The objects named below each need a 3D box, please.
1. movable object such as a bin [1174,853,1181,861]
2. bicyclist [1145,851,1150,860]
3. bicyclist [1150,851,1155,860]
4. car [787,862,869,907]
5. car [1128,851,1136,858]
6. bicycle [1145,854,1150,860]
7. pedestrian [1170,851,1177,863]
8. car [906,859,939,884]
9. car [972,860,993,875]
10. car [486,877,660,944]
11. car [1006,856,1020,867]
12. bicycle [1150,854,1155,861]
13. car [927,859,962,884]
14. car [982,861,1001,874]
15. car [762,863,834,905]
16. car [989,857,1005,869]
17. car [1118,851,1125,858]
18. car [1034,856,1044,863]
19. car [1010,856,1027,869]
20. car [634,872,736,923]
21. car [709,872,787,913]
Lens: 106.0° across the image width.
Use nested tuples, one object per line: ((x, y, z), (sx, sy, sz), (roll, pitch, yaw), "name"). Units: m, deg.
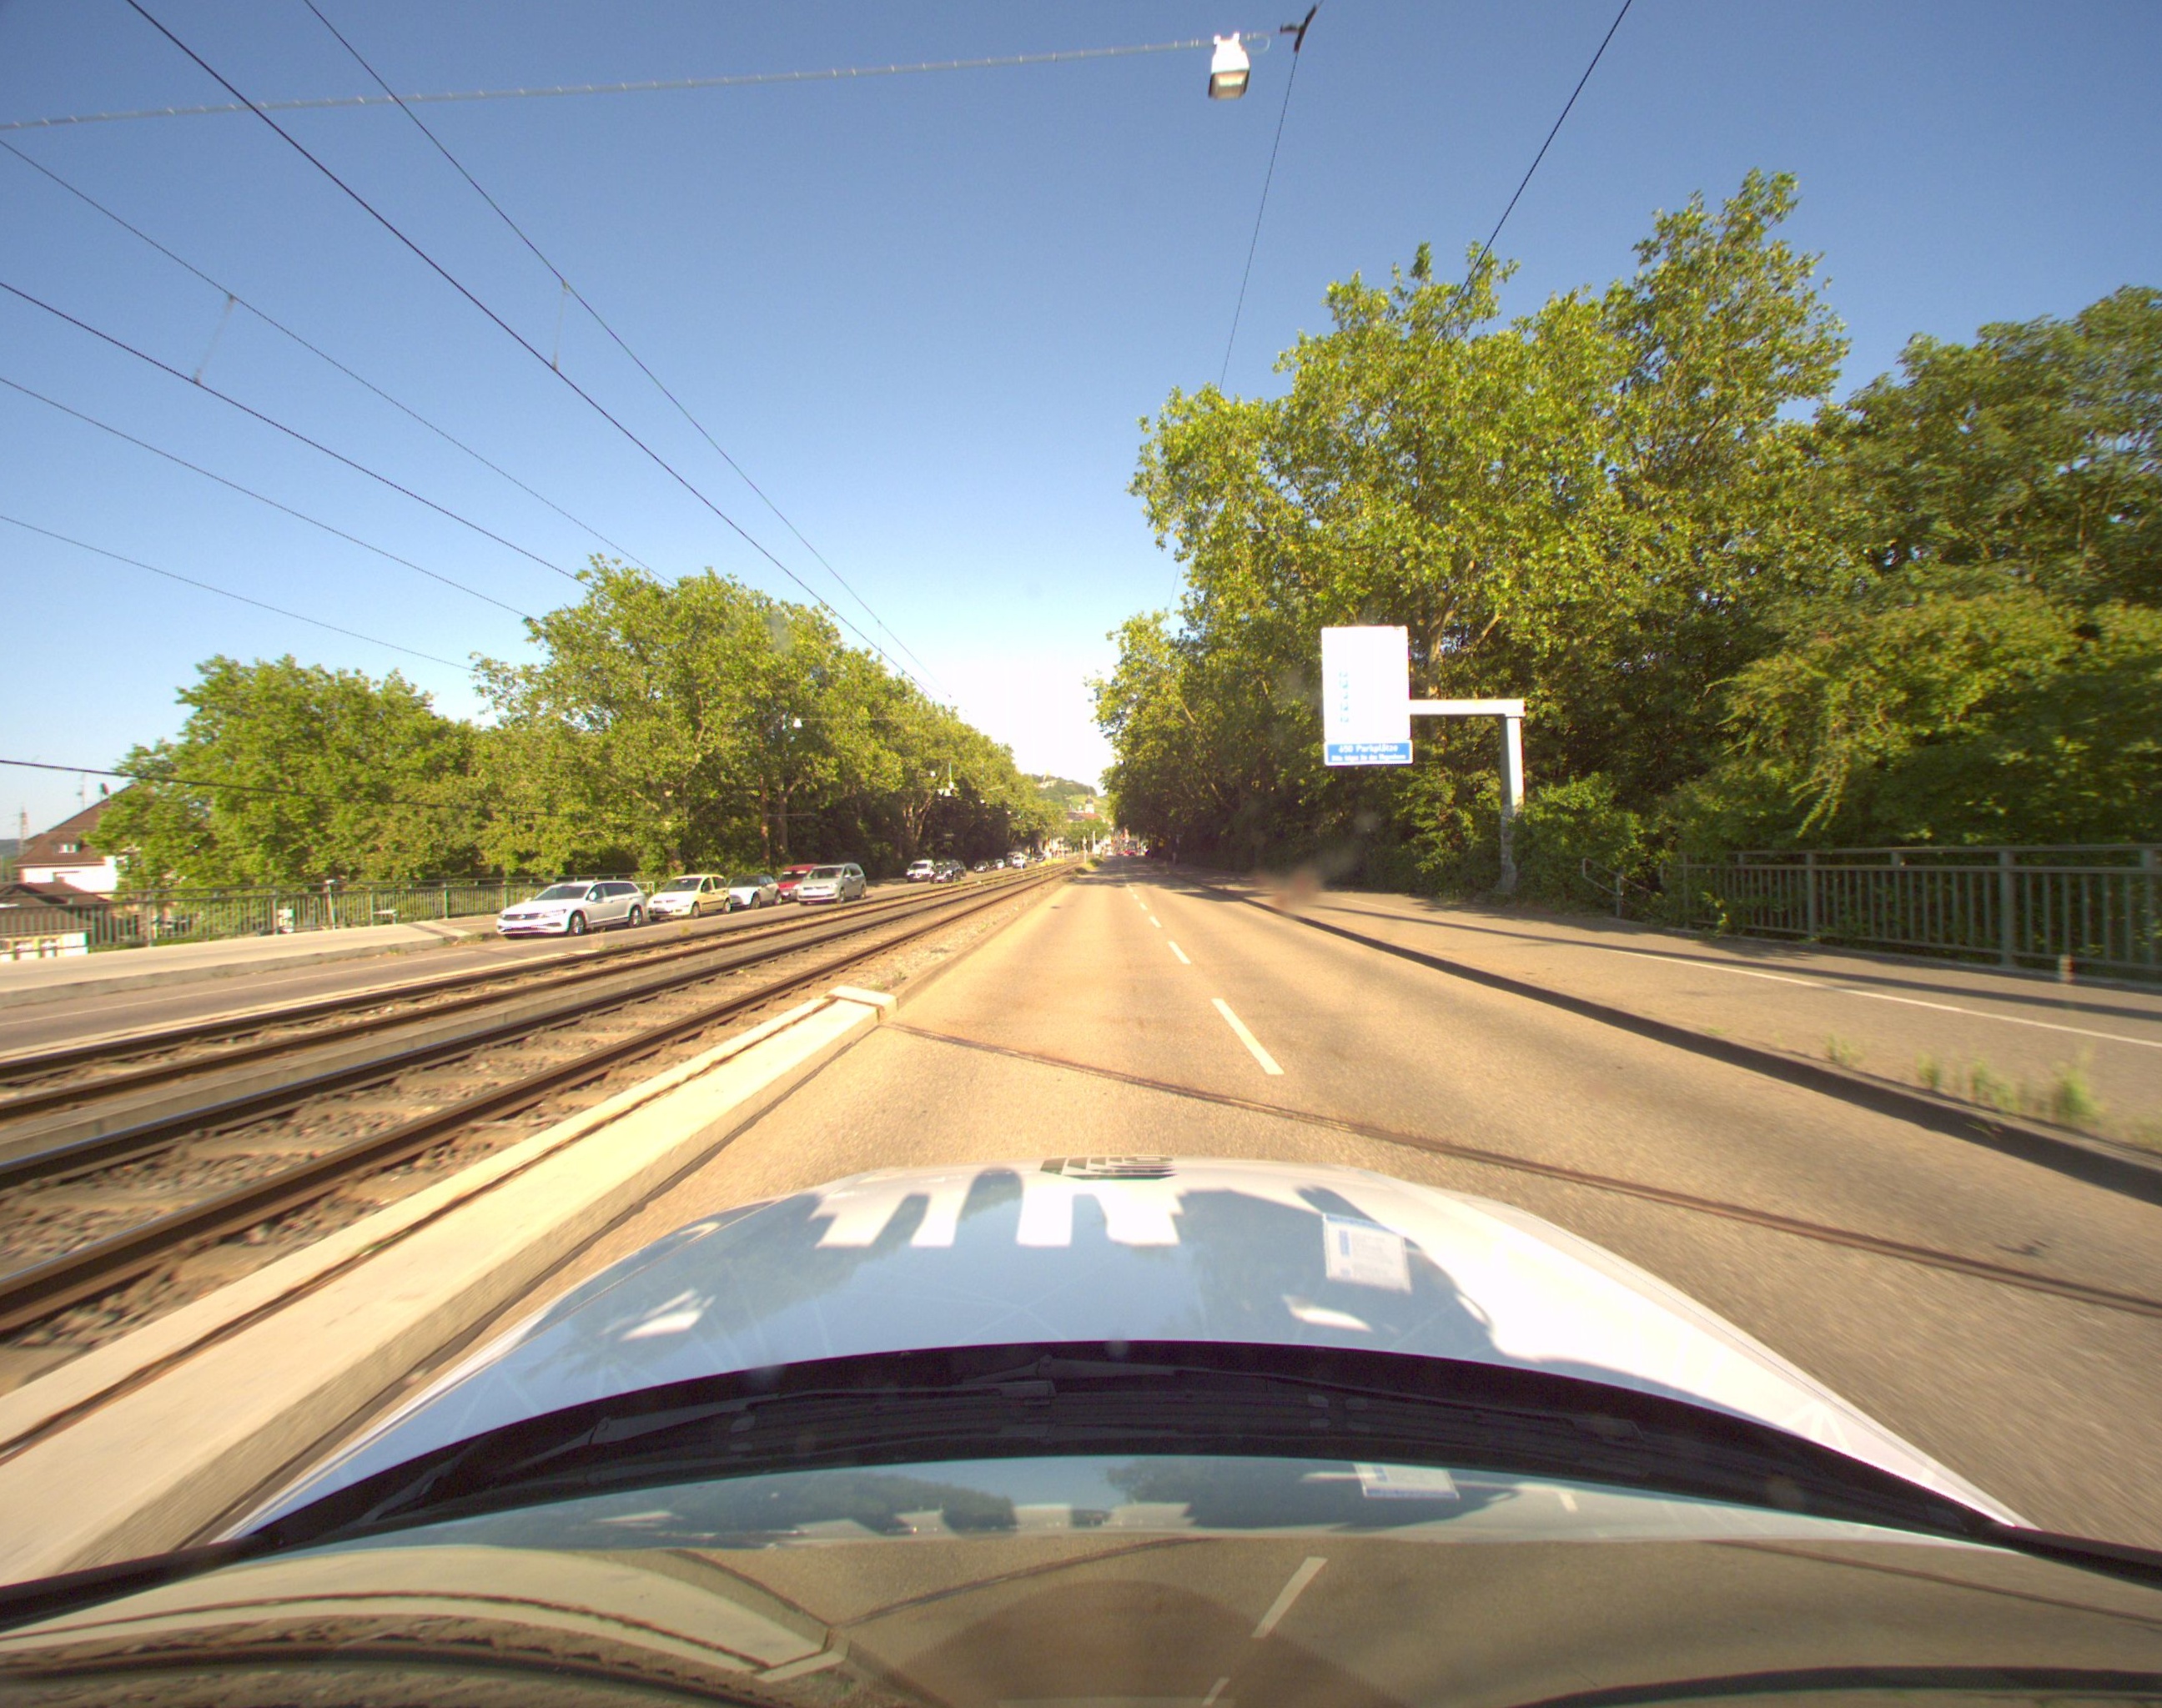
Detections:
((11.985, 0.410, 100.789), (0.800, 0.947, 0.657), (-2, 0, 5), "movable object such as a bin")
((13.746, 0.290, 168.988), (0.883, 1.774, 1.223), (-2, 0, 2), "bicyclist")
((13.311, 0.338, 151.690), (0.883, 1.638, 1.165), (-2, 0, 2), "bicyclist")
((-10.776, 1.247, 35.056), (1.866, 1.665, 4.599), (-3, 0, 2), "car")
((16.216, 0.107, 257.155), (2.384, 1.999, 5.308), (-2, 0, 2), "car")
((13.784, 0.642, 169.090), (0.883, 1.321, 2.641), (-2, 0, 2), "bicycle")
((11.590, 0.354, 101.607), (0.800, 1.546, 0.815), (-2, 0, 5), "pedestrian")
((-13.168, 1.416, 67.748), (1.736, 1.743, 4.512), (-5, 0, -1), "car")
((-12.416, 1.689, 102.818), (1.987, 1.697, 4.744), (-2, 0, 1), "car")
((-14.084, 1.498, 22.999), (1.736, 1.464, 4.956), (-1, 0, 1), "car")
((-11.585, 1.275, 139.077), (1.987, 1.697, 4.744), (-2, 0, 1), "car")
((13.314, 0.616, 151.590), (0.883, 1.321, 2.641), (-2, 0, 2), "bicycle")
((-10.059, 1.265, 60.427), (1.736, 1.623, 4.394), (-3, 0, 0), "car")
((-12.706, 1.841, 115.812), (1.987, 1.697, 4.744), (-2, 0, 1), "car")
((-13.677, 1.404, 39.627), (1.735, 1.754, 4.685), (-2, 0, 1), "car")
((-13.115, 1.415, 127.272), (1.987, 1.697, 4.744), (-2, 0, 1), "car")
((13.021, 0.215, 261.933), (2.384, 1.999, 5.308), (-2, 0, 2), "car")
((-9.487, 1.244, 184.543), (1.987, 1.697, 4.744), (-2, 0, 1), "car")
((-9.344, 1.291, 121.760), (1.986, 1.844, 5.303), (0, 0, 1), "car")
((-13.933, 1.470, 28.866), (1.627, 1.531, 3.791), (-2, 0, 1), "car")
((-13.897, 1.577, 34.247), (1.628, 1.450, 4.001), (-2, 0, -1), "car")
